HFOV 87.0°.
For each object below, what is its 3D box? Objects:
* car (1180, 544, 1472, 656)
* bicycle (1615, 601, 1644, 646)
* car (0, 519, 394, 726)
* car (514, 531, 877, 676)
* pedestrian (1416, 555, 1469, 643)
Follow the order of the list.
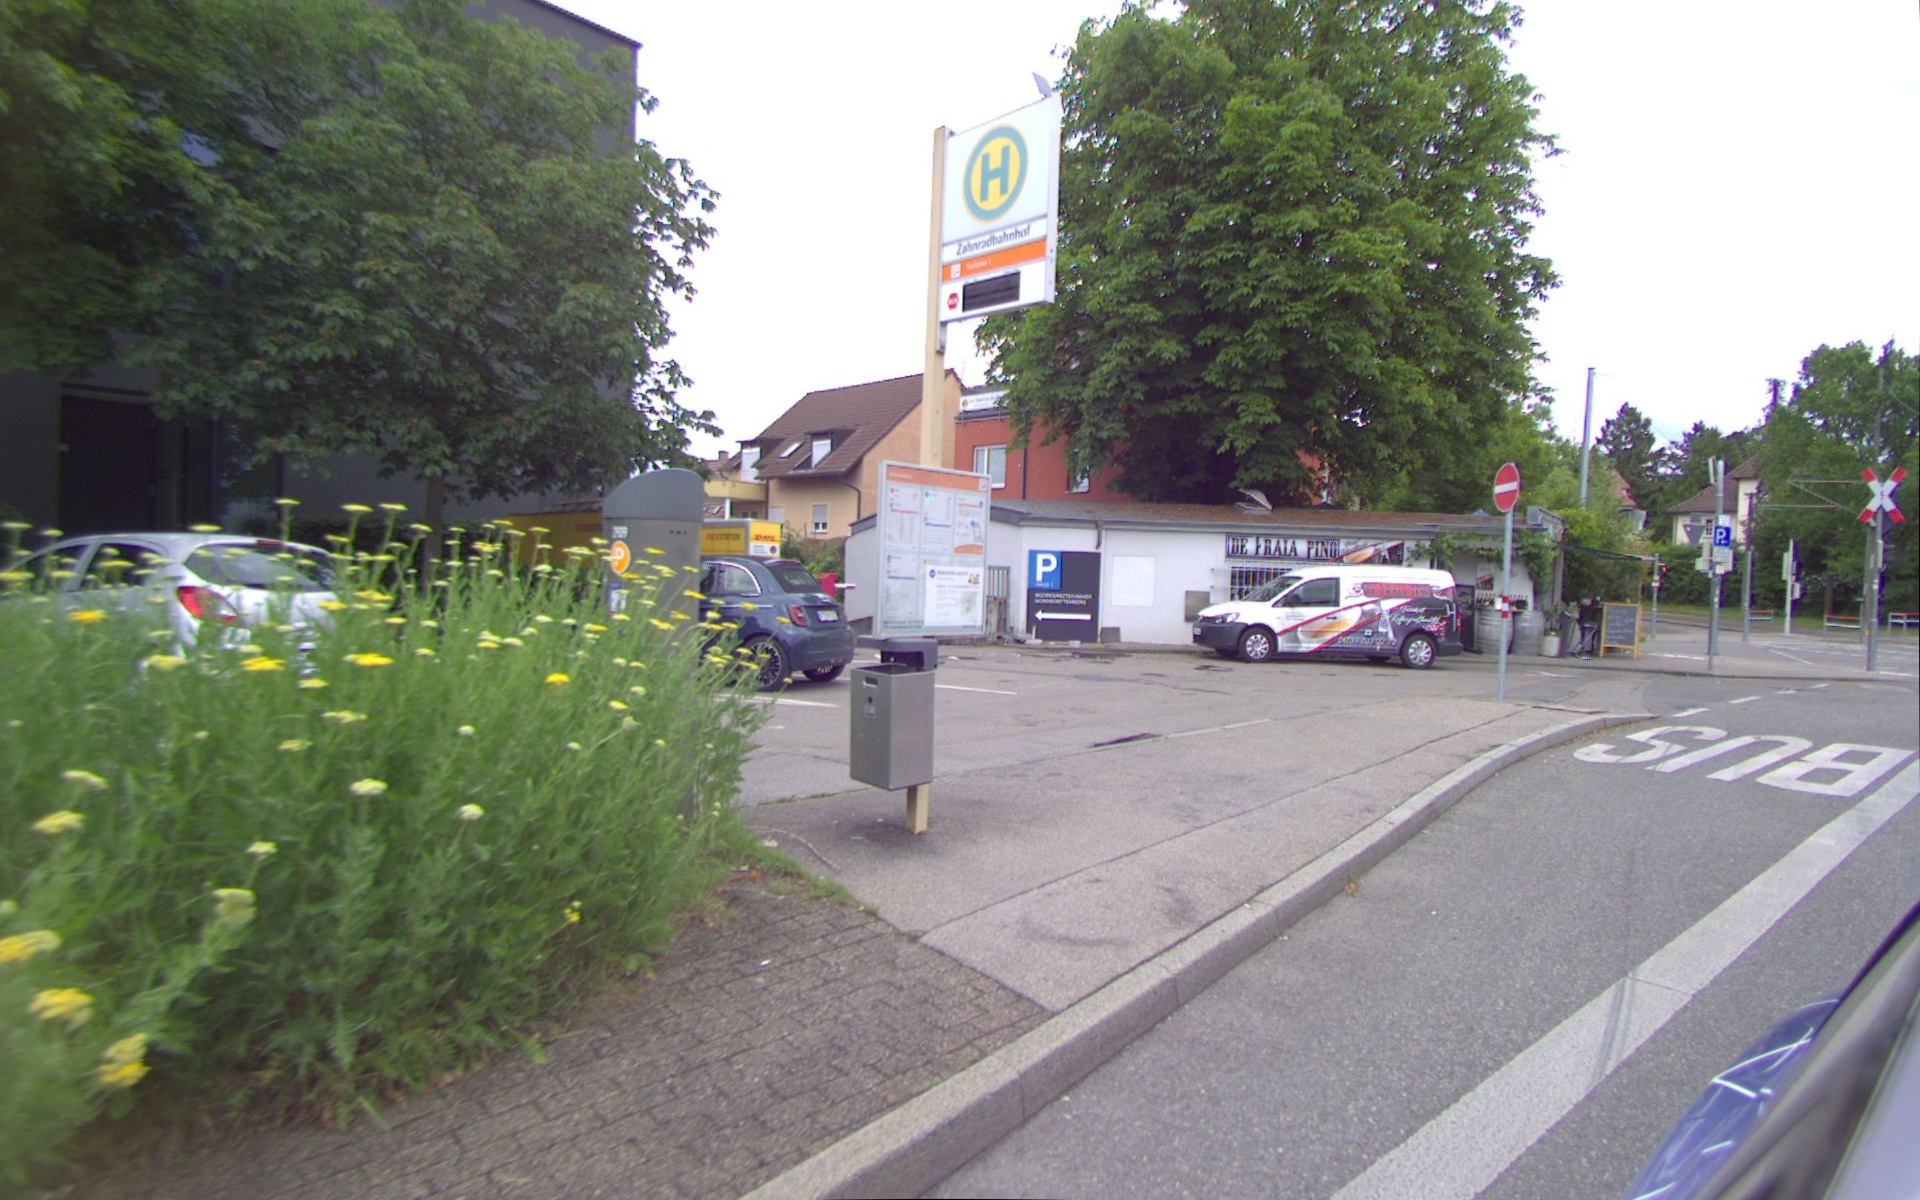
[{"bbox_3d":[6.633,-0.027,18.675,4.603,1.770,1.853,3,1,-3],"label":"car"},{"bbox_3d":[18.955,0.676,28.631,0.547,1.153,1.852,3,-2,37],"label":"bicycle"},{"bbox_3d":[-6.730,0.101,8.461,3.473,1.395,1.537,3,0,19],"label":"car"},{"bbox_3d":[-3.209,-0.020,12.456,3.947,1.495,1.869,2,2,18],"label":"car"},{"bbox_3d":[10.656,-0.035,22.355,0.611,1.880,0.688,4,1,-28],"label":"pedestrian"}]
